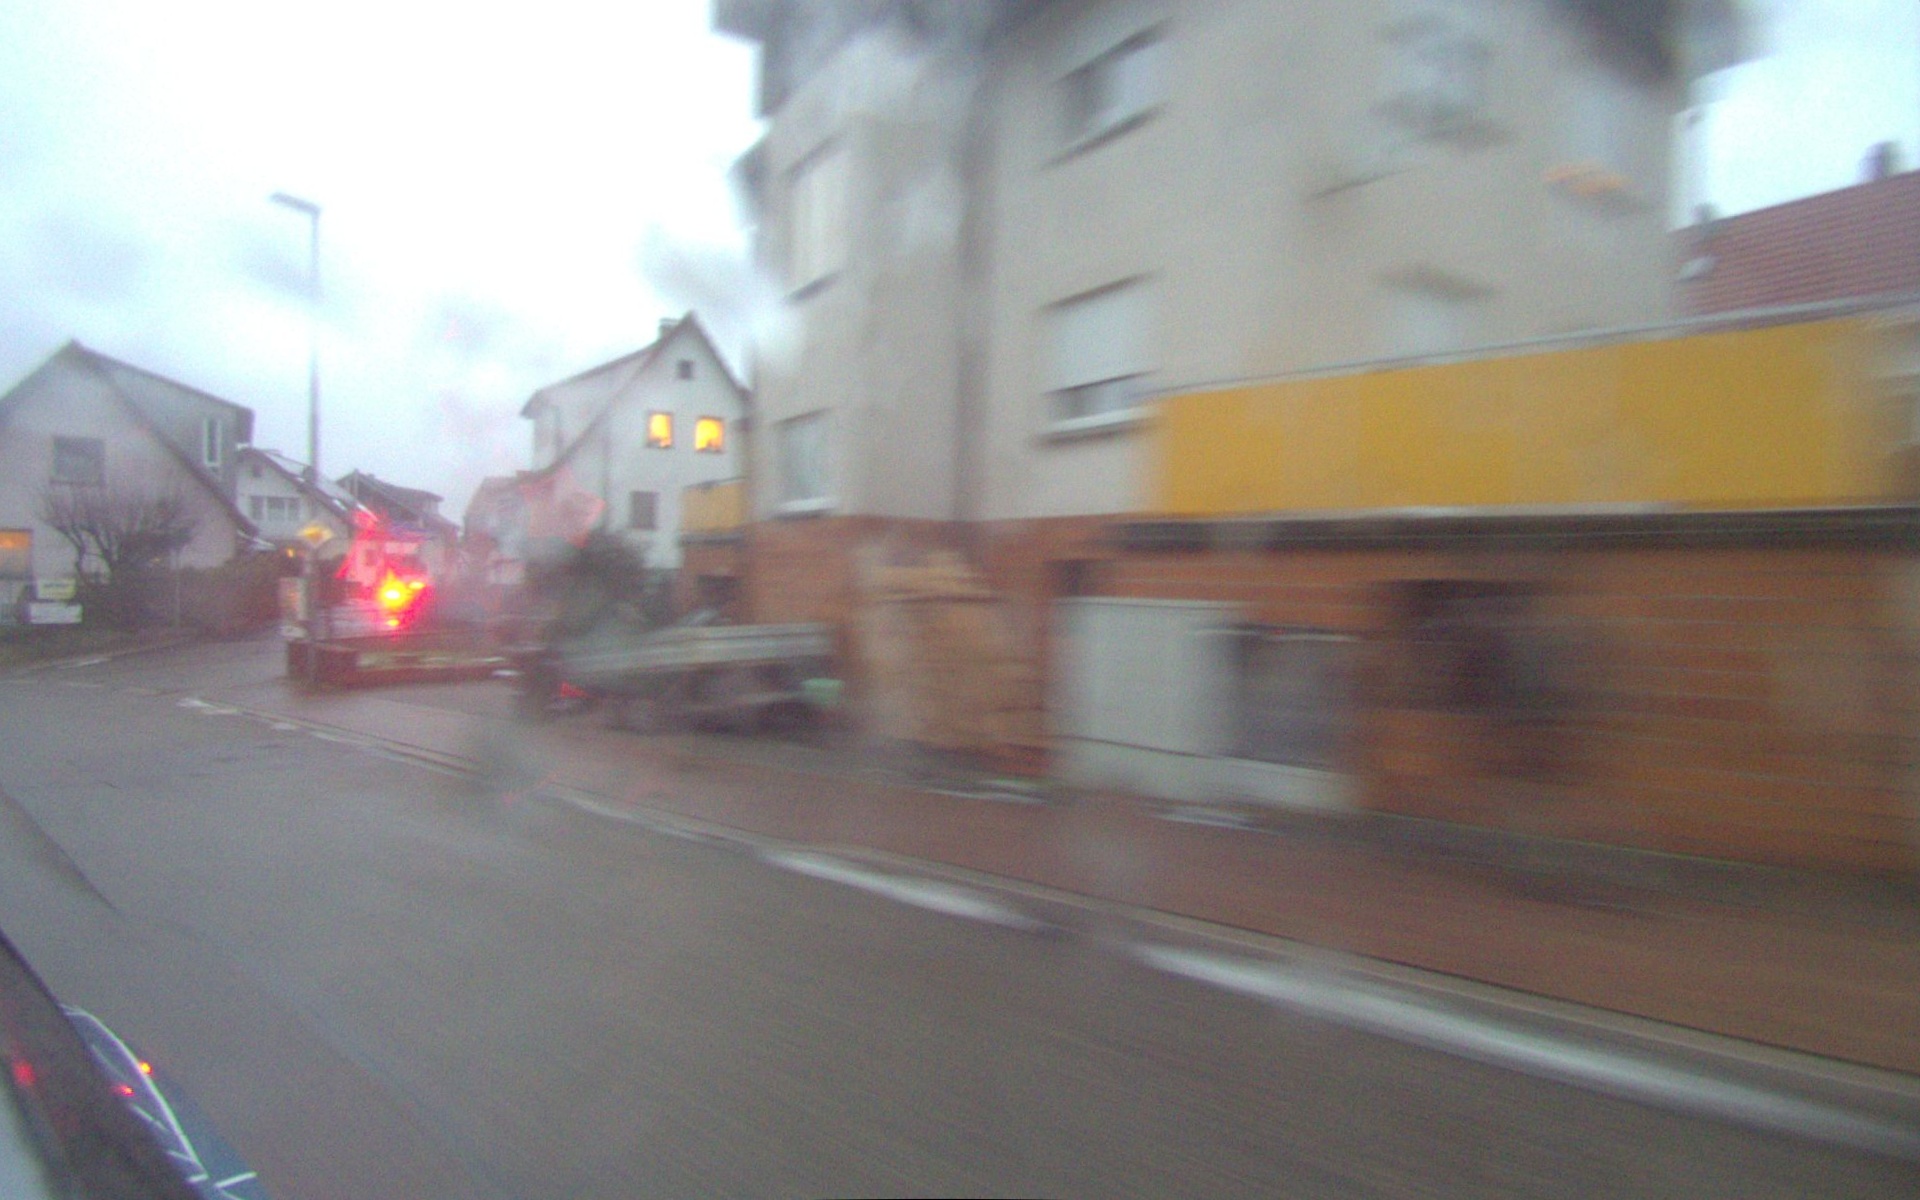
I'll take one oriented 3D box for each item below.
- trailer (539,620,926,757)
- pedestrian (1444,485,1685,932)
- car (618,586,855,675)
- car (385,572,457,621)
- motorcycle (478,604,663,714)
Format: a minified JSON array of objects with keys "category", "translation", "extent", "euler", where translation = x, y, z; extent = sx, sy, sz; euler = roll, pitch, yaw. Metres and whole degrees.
[{"category":"trailer","translation":[-2.778,0.844,11.469],"extent":[2.034,1.177,4.871],"euler":[-1,-1,-44]},{"category":"pedestrian","translation":[2.639,0.413,4.434],"extent":[0.812,1.745,0.591],"euler":[1,2,42]},{"category":"car","translation":[-4.201,0.503,19.255],"extent":[3.934,1.427,1.922],"euler":[-2,2,-36]},{"category":"car","translation":[-20.538,-0.191,38.742],"extent":[1.965,1.643,4.014],"euler":[-2,3,-22]},{"category":"motorcycle","translation":[-5.243,0.765,13.819],"extent":[2.201,1.308,1.060],"euler":[-2,1,-14]}]
